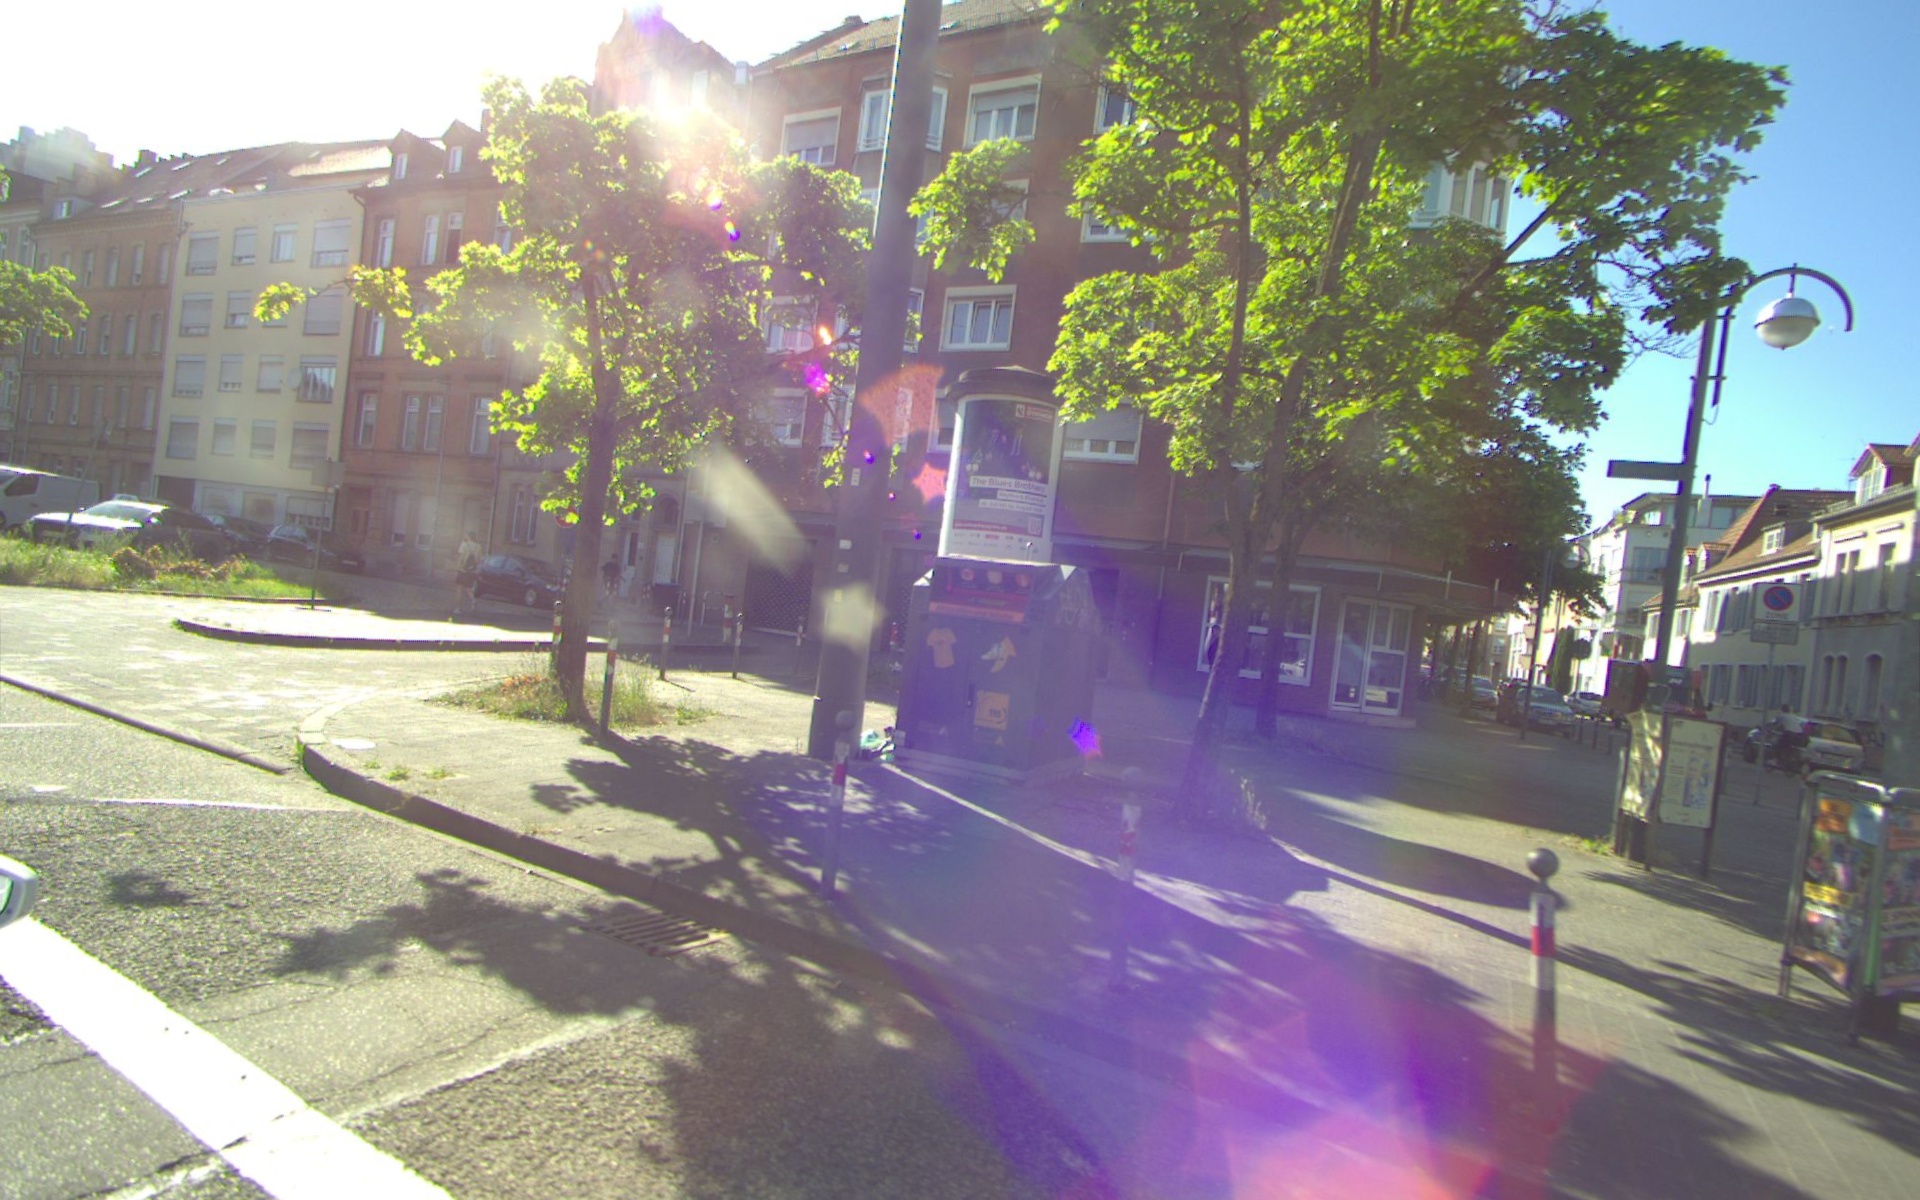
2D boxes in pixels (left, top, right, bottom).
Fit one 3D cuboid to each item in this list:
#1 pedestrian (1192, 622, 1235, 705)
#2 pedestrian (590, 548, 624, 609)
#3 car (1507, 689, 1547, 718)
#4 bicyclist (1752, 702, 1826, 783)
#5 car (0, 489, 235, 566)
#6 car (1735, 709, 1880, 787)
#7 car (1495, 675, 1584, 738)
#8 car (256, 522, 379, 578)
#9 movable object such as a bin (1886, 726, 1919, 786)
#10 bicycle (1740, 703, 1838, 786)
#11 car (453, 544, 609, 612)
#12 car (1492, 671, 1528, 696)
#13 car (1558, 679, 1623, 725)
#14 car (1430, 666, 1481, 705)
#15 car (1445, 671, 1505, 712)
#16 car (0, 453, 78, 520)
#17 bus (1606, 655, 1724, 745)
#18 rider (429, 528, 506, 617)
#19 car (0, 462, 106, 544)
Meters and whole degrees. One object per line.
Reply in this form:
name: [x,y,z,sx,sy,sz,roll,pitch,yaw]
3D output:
pedestrian: [5.732,1.429,22.746,0.631,1.782,0.592,7,0,28]
pedestrian: [-10.878,-0.652,31.039,0.605,1.780,0.570,7,1,30]
car: [39.427,7.175,70.070,1.605,1.563,4.000,7,0,20]
bicyclist: [20.219,3.449,24.561,0.903,1.746,1.050,7,0,18]
car: [-20.534,-1.692,24.819,1.985,1.453,4.872,7,1,-5]
car: [23.586,4.060,28.179,1.605,1.563,4.001,7,0,19]
car: [18.709,3.379,32.647,1.817,1.593,3.998,7,0,23]
car: [-22.928,-1.794,35.886,4.218,1.439,1.731,8,1,27]
movable object such as a bin: [25.594,4.195,26.680,1.016,1.462,1.217,7,0,23]
bicycle: [20.201,3.478,24.578,0.991,1.701,2.141,7,0,19]
car: [-12.918,-0.671,30.243,4.414,1.492,1.996,7,0,30]
car: [41.489,6.276,75.918,1.605,1.563,4.000,7,0,20]
car: [33.717,5.434,53.921,1.963,2.038,4.000,7,0,21]
car: [27.519,4.711,55.995,1.963,1.816,3.999,7,0,21]
car: [24.552,4.323,48.059,1.963,1.571,3.999,7,0,21]
car: [-42.815,-5.263,46.192,4.435,2.619,1.996,8,2,29]
bus: [28.773,3.968,41.334,2.379,3.105,6.264,7,0,23]
rider: [-11.027,-0.591,22.568,1.021,1.843,0.962,7,1,5]
car: [-26.942,-2.803,28.302,1.985,2.102,4.871,7,1,-7]
